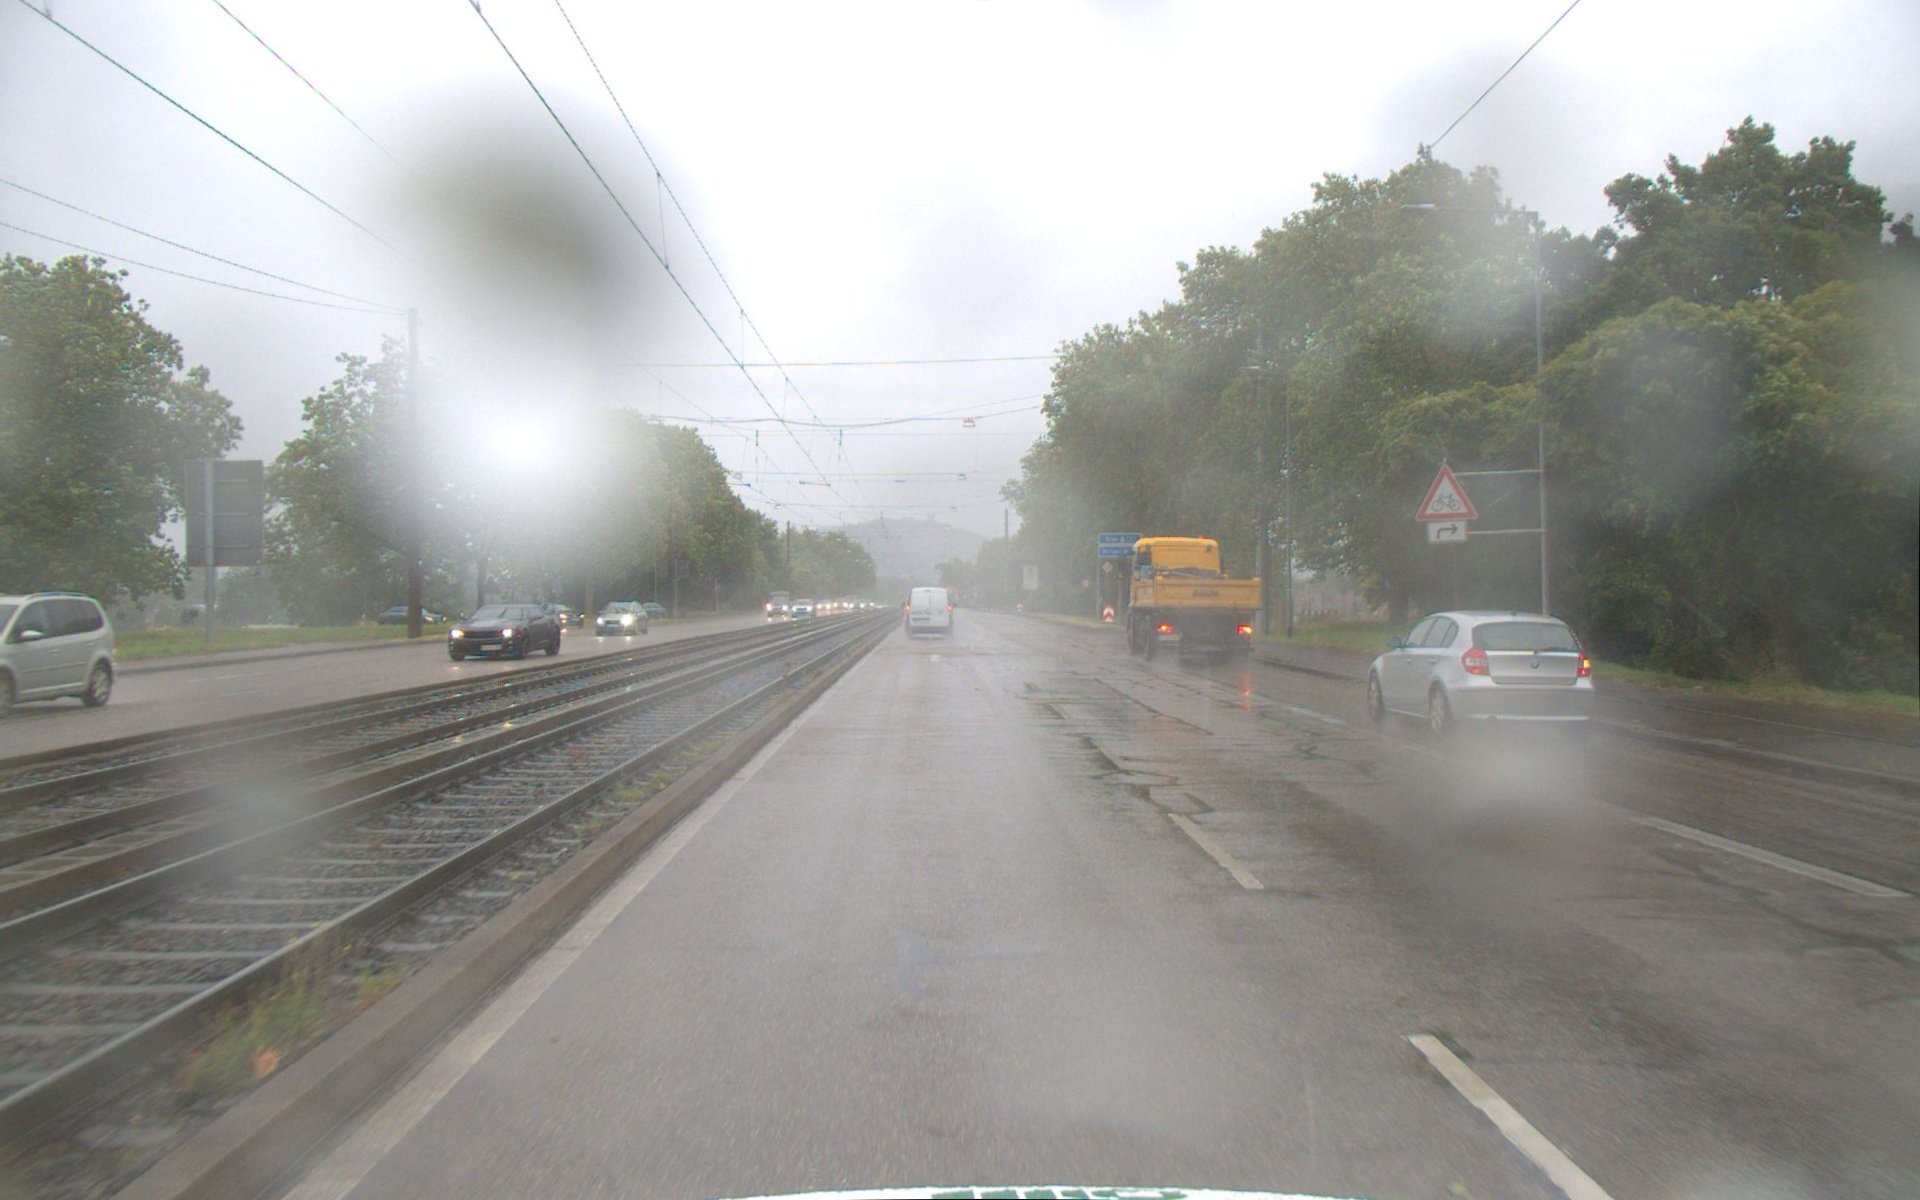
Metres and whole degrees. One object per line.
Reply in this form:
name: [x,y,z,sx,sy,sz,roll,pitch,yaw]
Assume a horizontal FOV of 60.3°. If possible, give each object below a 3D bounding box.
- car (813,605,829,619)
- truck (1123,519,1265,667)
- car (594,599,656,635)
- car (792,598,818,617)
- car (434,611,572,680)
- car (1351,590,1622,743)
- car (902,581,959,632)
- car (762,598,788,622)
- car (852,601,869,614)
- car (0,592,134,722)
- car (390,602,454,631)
car: [-18.248,1.551,217.461,1.782,1.735,5.020,1,1,-1]
truck: [5.674,-0.214,41.118,2.503,3.314,6.933,1,1,0]
car: [-14.515,0.702,71.965,1.722,1.386,5.070,1,1,-1]
car: [-12.608,0.574,134.315,1.706,1.377,4.545,1,1,-1]
car: [-11.807,1.131,43.128,1.952,1.489,5.252,-2,1,2]
car: [6.051,0.683,19.587,1.593,1.529,4.605,1,1,-2]
car: [-1.033,0.207,59.542,1.948,1.713,3.740,1,1,0]
car: [-15.630,0.823,139.888,1.849,1.841,5.002,1,1,-3]
car: [-13.523,1.035,224.683,1.753,1.576,5.315,1,1,3]
car: [-13.366,0.743,22.471,1.805,1.601,5.065,1,1,-1]
car: [-34.396,1.035,105.745,4.566,1.716,1.837,2,1,41]
